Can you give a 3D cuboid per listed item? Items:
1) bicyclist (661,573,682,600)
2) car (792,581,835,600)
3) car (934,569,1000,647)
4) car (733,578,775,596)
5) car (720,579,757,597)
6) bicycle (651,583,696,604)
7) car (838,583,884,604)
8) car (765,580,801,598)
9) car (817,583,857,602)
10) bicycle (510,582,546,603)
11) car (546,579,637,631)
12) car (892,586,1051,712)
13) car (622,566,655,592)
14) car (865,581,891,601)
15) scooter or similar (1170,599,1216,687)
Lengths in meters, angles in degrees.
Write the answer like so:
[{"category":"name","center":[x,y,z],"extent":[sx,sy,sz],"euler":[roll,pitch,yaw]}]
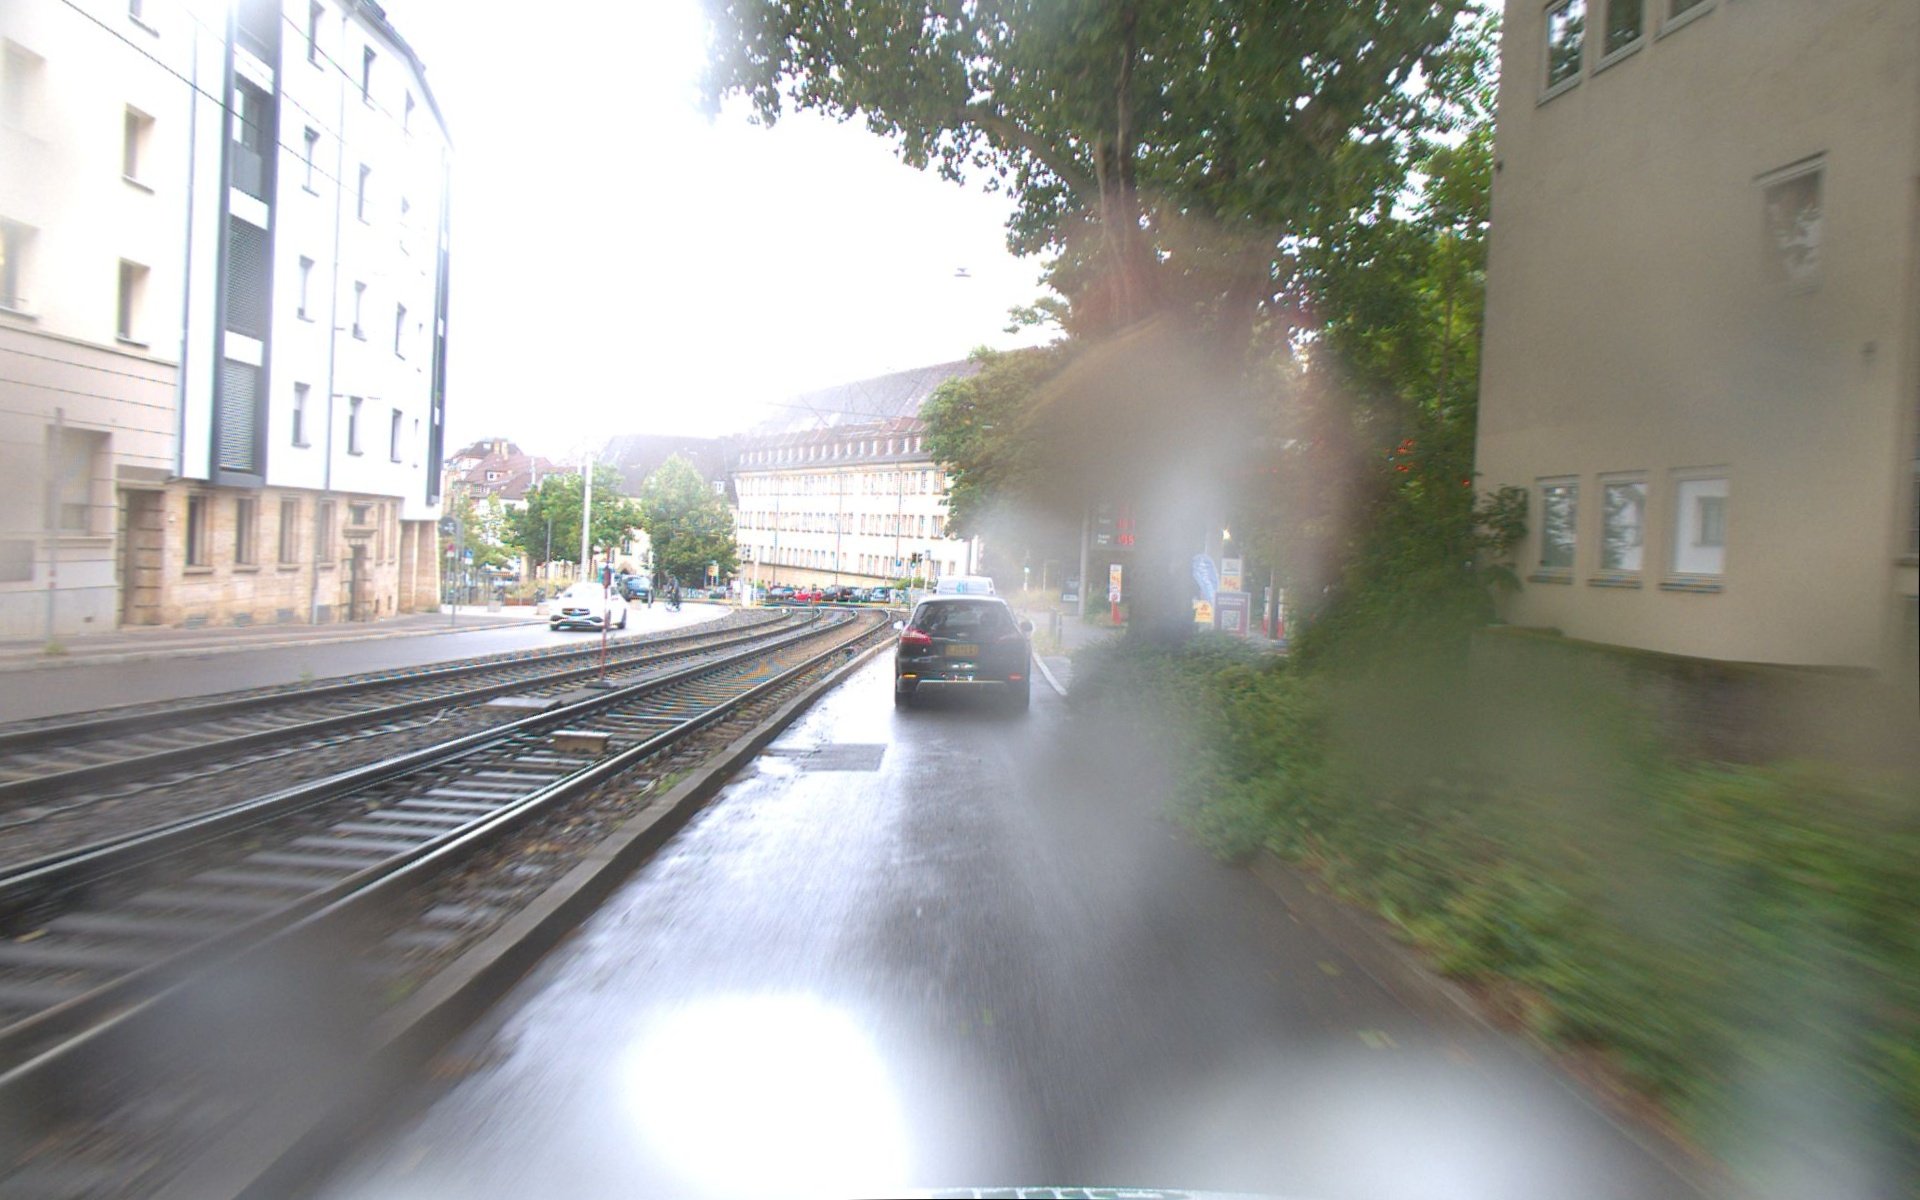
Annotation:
[{"category":"bicyclist","center":[-14.365,-0.669,82.299],"extent":[0.766,1.336,0.780],"euler":[0,1,-38]},{"category":"car","center":[-13.007,-0.867,146.330],"extent":[1.979,1.569,3.948],"euler":[2,0,-37]},{"category":"car","center":[0.182,0.205,46.486],"extent":[1.705,2.049,3.903],"euler":[2,0,0]},{"category":"car","center":[-19.279,-1.232,154.383],"extent":[1.983,1.569,3.939],"euler":[2,0,-42]},{"category":"car","center":[-21.207,-1.187,158.128],"extent":[1.976,1.569,3.953],"euler":[2,0,-34]},{"category":"bicycle","center":[-14.269,-0.318,82.337],"extent":[2.084,0.959,0.804],"euler":[1,0,-39]},{"category":"car","center":[-8.183,-0.539,136.900],"extent":[1.977,1.569,3.950],"euler":[2,0,-35]},{"category":"car","center":[-16.119,-1.032,150.705],"extent":[1.971,1.569,3.963],"euler":[0,1,-28]},{"category":"car","center":[-10.529,-0.645,141.745],"extent":[1.568,1.569,3.951],"euler":[2,0,-35]},{"category":"bicycle","center":[-23.367,-0.401,89.538],"extent":[1.777,1.079,0.570],"euler":[2,0,-4]},{"category":"car","center":[-11.708,0.148,52.840],"extent":[1.763,1.508,4.840],"euler":[2,0,0]},{"category":"car","center":[0.059,0.608,22.806],"extent":[1.895,1.478,4.315],"euler":[3,0,-3]},{"category":"car","center":[-20.242,-1.311,104.135],"extent":[1.958,1.569,3.990],"euler":[2,0,-11]},{"category":"car","center":[-6.656,-0.733,133.248],"extent":[1.627,1.502,3.635],"euler":[2,0,-10]},{"category":"scooter or similar","center":[3.431,0.635,24.294],"extent":[0.365,1.256,1.371],"euler":[1,-2,20]}]
